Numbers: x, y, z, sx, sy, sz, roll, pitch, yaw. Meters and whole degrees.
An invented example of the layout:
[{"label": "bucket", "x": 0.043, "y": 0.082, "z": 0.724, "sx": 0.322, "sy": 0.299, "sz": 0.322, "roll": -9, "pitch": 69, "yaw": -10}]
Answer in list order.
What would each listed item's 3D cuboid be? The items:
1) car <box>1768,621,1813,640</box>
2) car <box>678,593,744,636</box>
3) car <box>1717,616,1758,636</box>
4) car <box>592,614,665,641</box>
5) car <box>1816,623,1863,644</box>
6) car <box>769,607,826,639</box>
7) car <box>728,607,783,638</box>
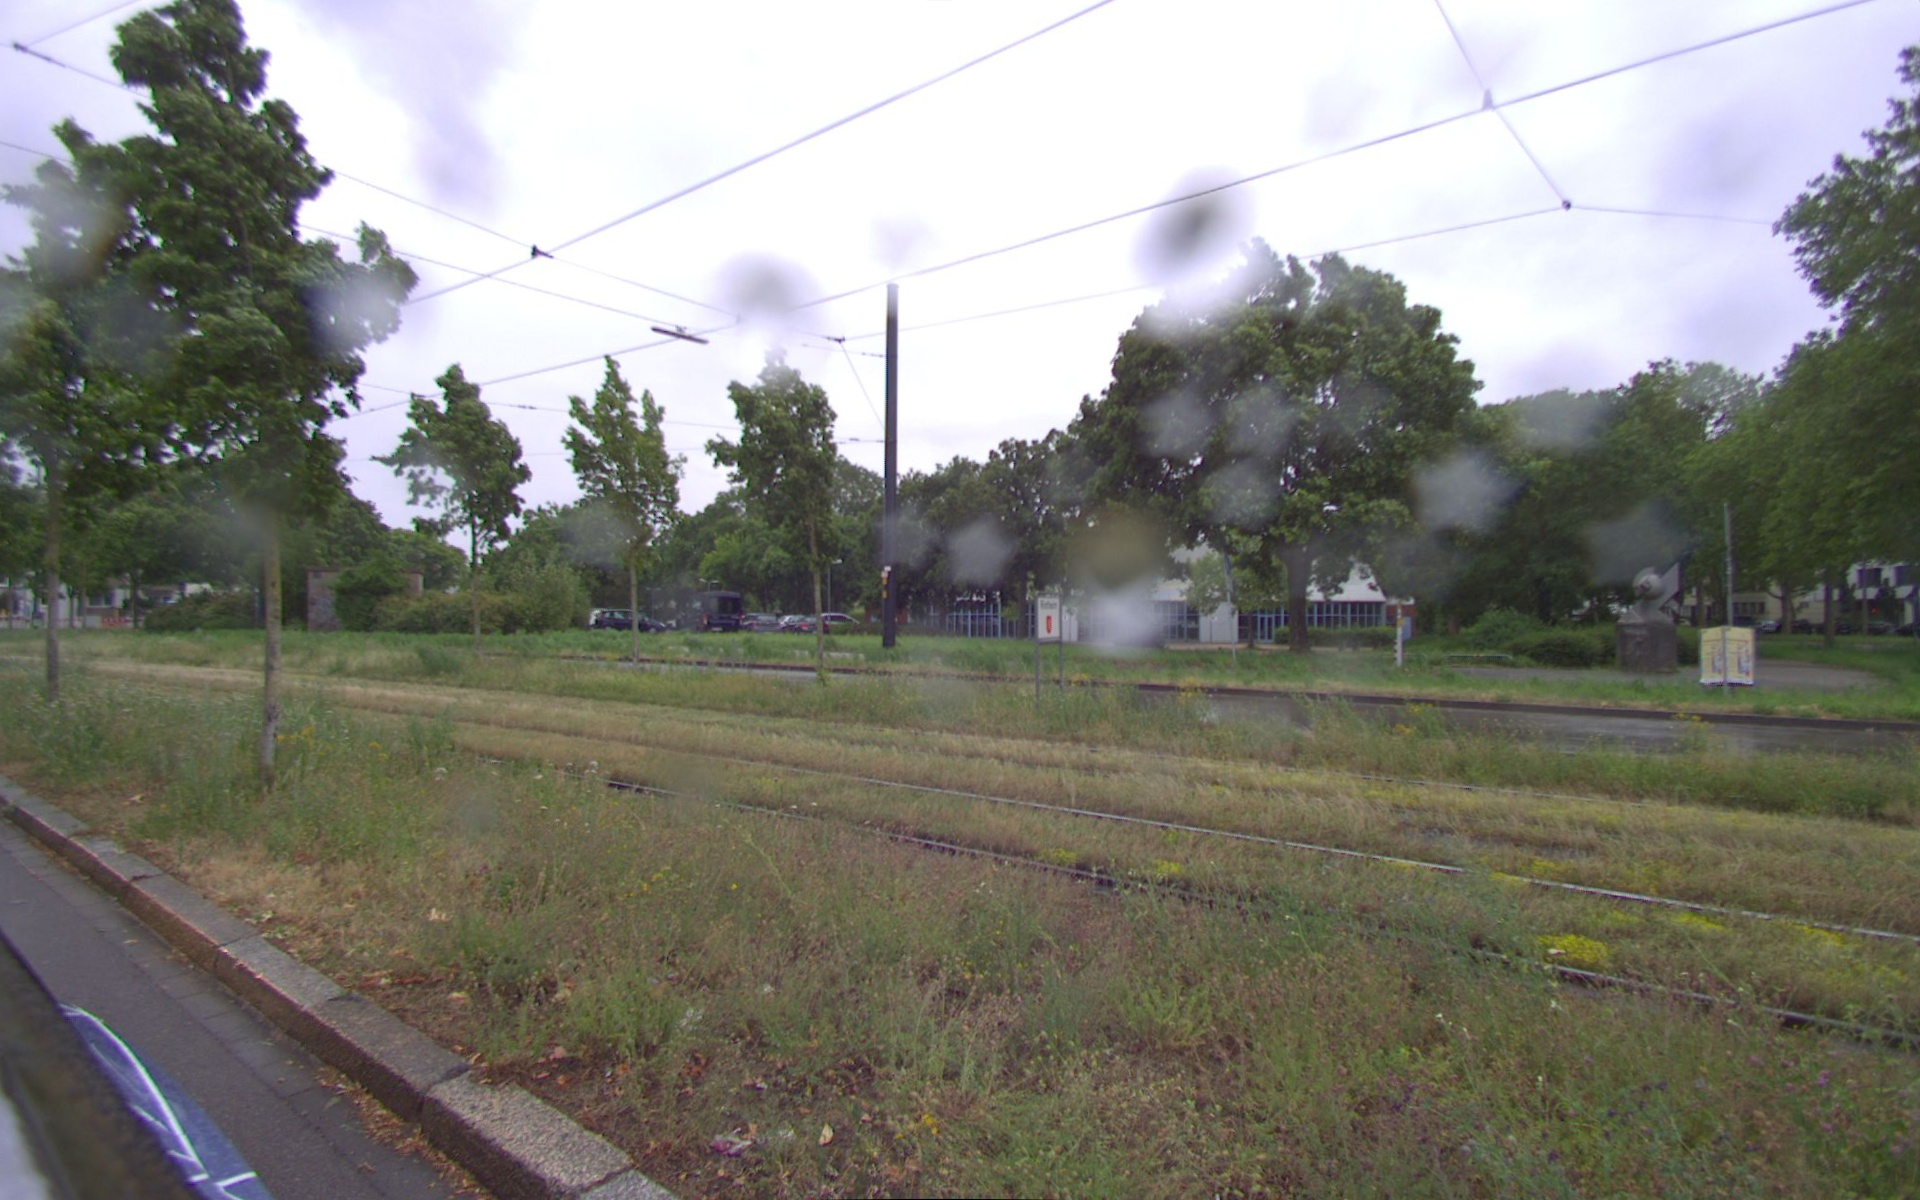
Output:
[{"label": "car", "x": 82.985, "y": 3.037, "z": 101.153, "sx": 1.982, "sy": 1.796, "sz": 3.979, "roll": -1, "pitch": 0, "yaw": 16}, {"label": "car", "x": -12.826, "y": 0.711, "z": 51.936, "sx": 2.273, "sy": 2.029, "sz": 5.134, "roll": -1, "pitch": 0, "yaw": -25}, {"label": "car", "x": 86.340, "y": 2.846, "z": 112.475, "sx": 2.108, "sy": 2.104, "sz": 3.982, "roll": -1, "pitch": 0, "yaw": 14}, {"label": "car", "x": -20.308, "y": 1.654, "z": 61.954, "sx": 4.110, "sy": 1.494, "sz": 1.789, "roll": -1, "pitch": 0, "yaw": -23}, {"label": "car", "x": 81.664, "y": 3.116, "z": 94.055, "sx": 1.986, "sy": 1.796, "sz": 3.972, "roll": -1, "pitch": 0, "yaw": 21}, {"label": "car", "x": -8.785, "y": 1.215, "z": 54.360, "sx": 2.026, "sy": 1.584, "sz": 5.032, "roll": -1, "pitch": 0, "yaw": -21}, {"label": "car", "x": -10.909, "y": 1.131, "z": 53.708, "sx": 1.726, "sy": 1.542, "sz": 4.865, "roll": -1, "pitch": 0, "yaw": -25}]
